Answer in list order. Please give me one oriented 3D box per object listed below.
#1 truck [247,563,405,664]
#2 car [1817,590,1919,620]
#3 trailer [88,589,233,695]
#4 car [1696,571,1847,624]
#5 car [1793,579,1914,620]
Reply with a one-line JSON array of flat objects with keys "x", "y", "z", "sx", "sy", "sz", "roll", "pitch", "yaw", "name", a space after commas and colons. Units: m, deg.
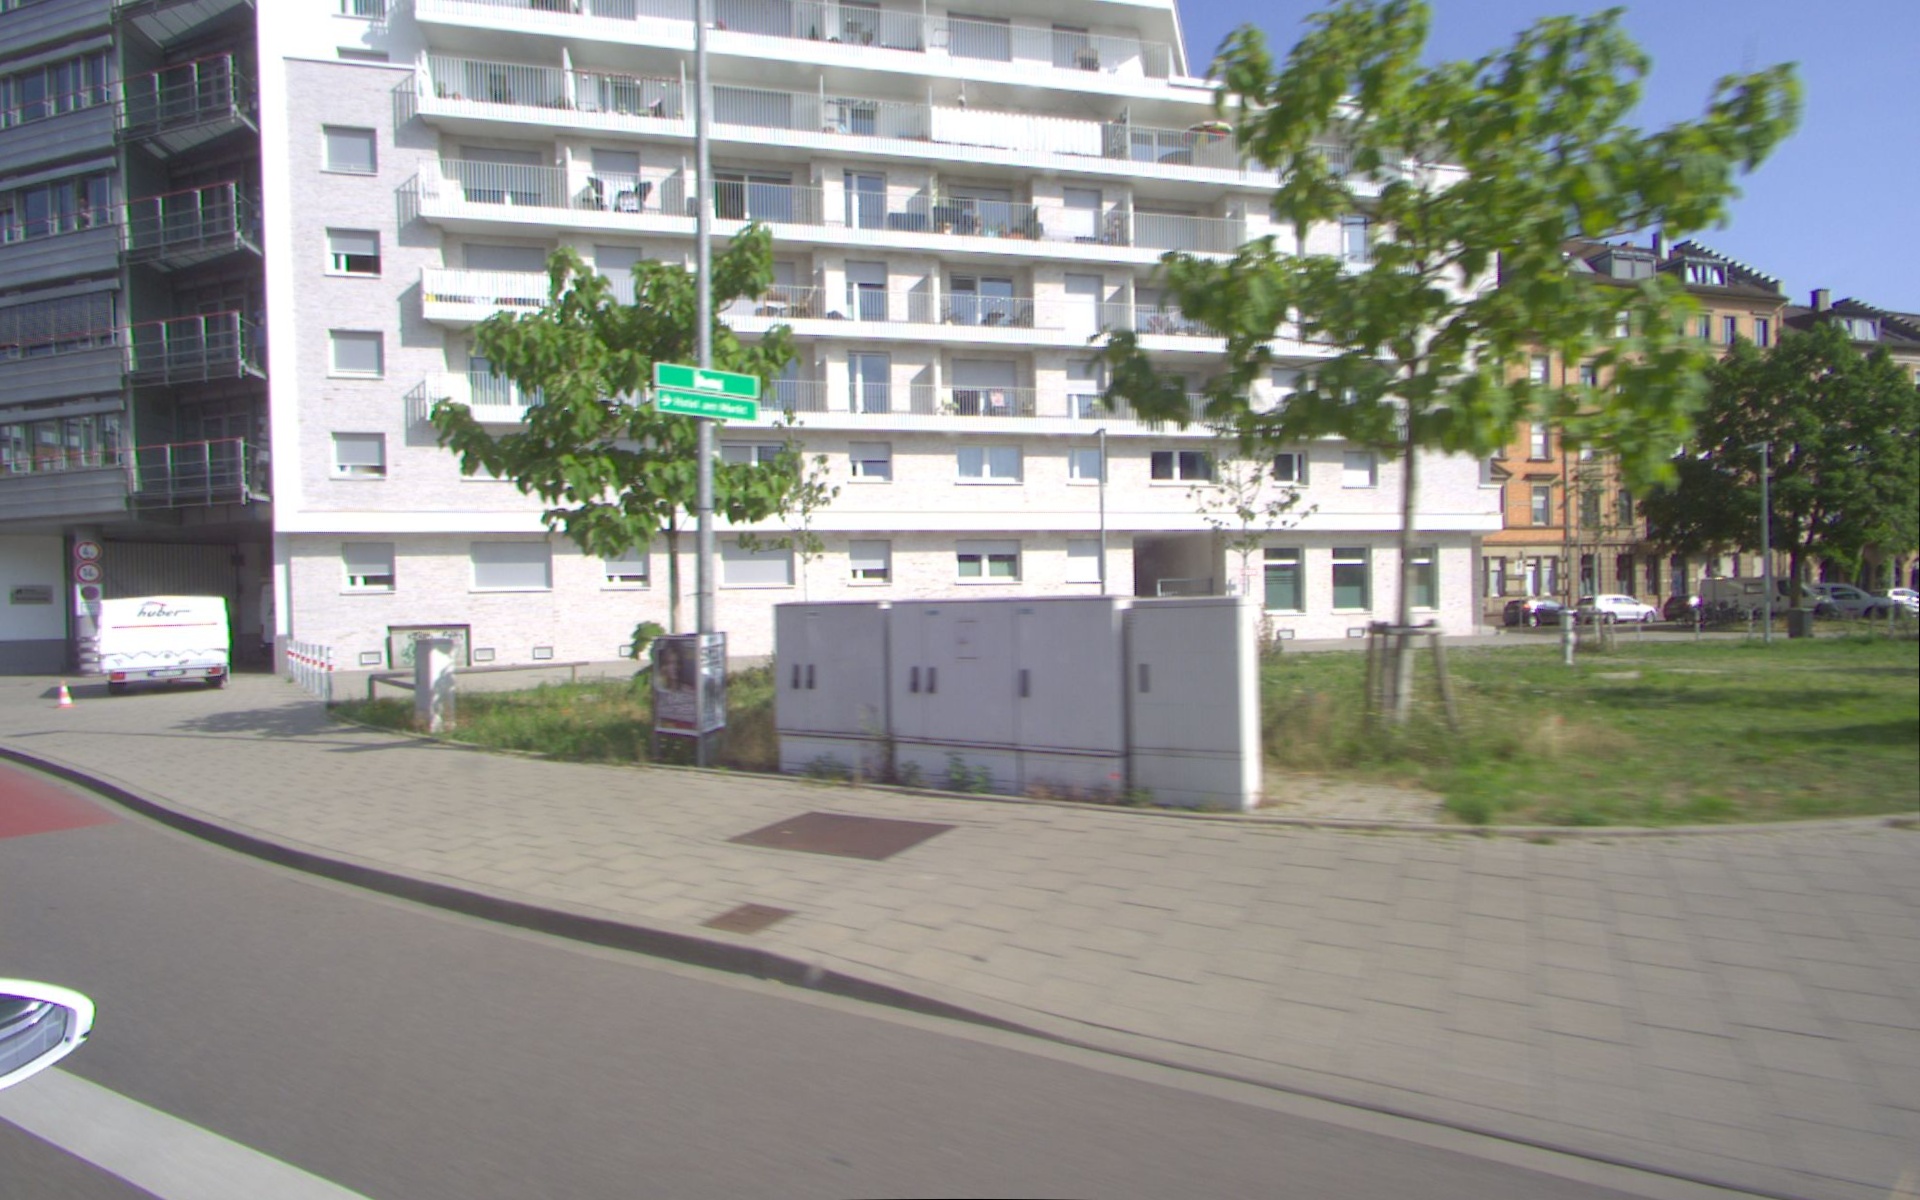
[{"x": -22.363, "y": 0.327, "z": 35.716, "sx": 1.961, "sy": 3.141, "sz": 6.145, "roll": -2, "pitch": 3, "yaw": -5, "name": "truck"}, {"x": 41.751, "y": 0.234, "z": 45.844, "sx": 3.813, "sy": 1.265, "sz": 1.707, "roll": -2, "pitch": -1, "yaw": 42, "name": "car"}, {"x": -18.831, "y": 0.907, "z": 23.649, "sx": 2.369, "sy": 2.179, "sz": 5.902, "roll": -1, "pitch": 0, "yaw": -39, "name": "trailer"}, {"x": 36.127, "y": -0.079, "z": 44.684, "sx": 1.860, "sy": 2.207, "sz": 5.003, "roll": -1, "pitch": 0, "yaw": -41, "name": "car"}, {"x": 39.825, "y": 0.017, "z": 44.727, "sx": 3.940, "sy": 1.729, "sz": 1.864, "roll": -1, "pitch": 0, "yaw": 42, "name": "car"}]
